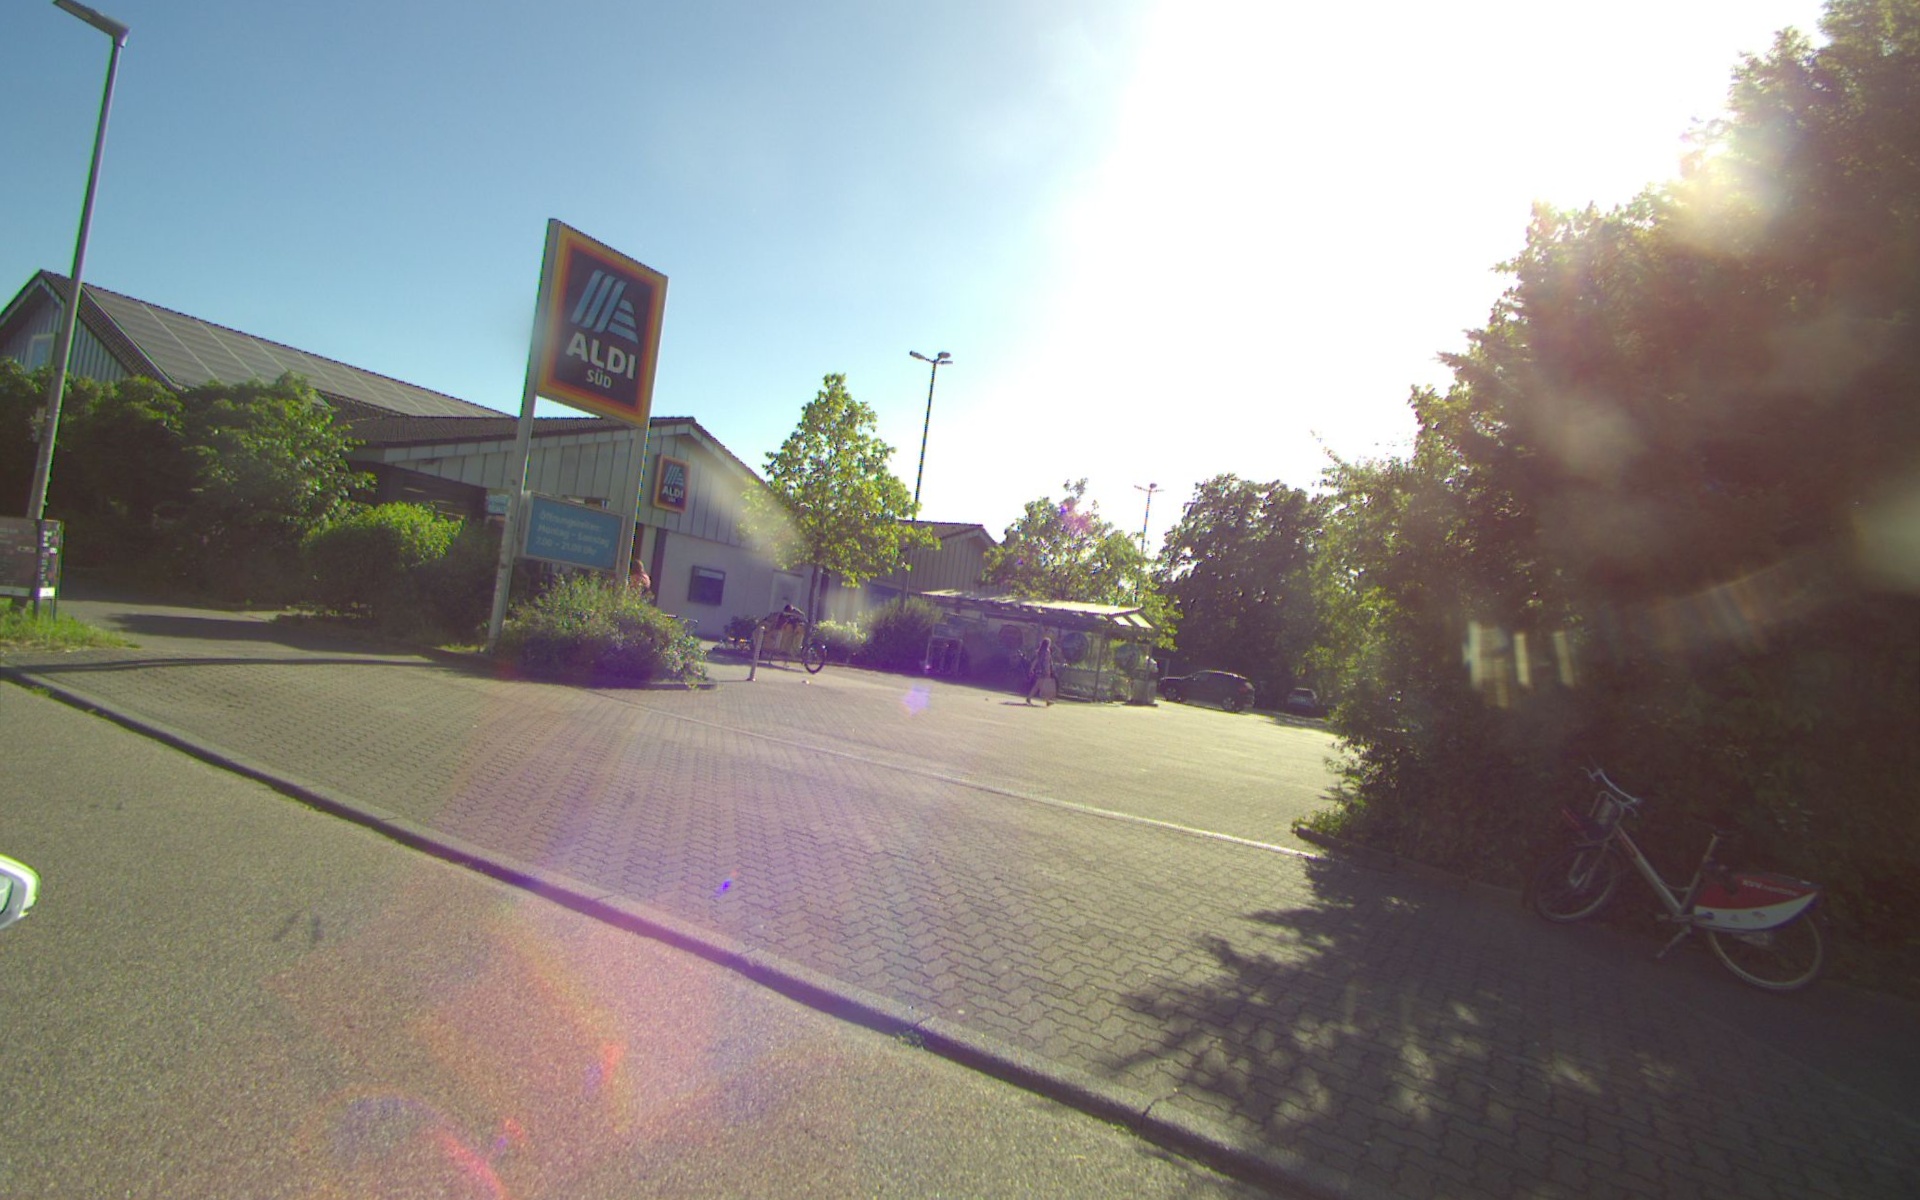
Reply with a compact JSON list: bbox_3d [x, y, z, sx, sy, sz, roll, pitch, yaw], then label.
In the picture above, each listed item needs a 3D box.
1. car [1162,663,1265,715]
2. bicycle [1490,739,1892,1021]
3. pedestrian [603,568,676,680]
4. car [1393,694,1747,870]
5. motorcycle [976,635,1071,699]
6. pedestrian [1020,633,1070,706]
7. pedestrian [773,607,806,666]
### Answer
[{"bbox_3d":[11.524,4.030,45.767,3.934,1.725,1.998,7,-2,32],"label":"car"},{"bbox_3d":[4.527,1.635,6.350,0.718,1.235,1.873,6,-1,-43],"label":"bicycle"},{"bbox_3d":[-5.123,0.378,16.071,0.688,1.650,0.769,9,-1,-38],"label":"pedestrian"},{"bbox_3d":[8.107,2.342,13.673,3.739,1.520,1.776,7,-2,31],"label":"car"},{"bbox_3d":[1.897,2.009,30.269,2.554,1.526,0.871,7,-2,32],"label":"motorcycle"},{"bbox_3d":[2.082,1.708,24.702,0.814,1.675,0.673,7,-1,30],"label":"pedestrian"},{"bbox_3d":[-5.017,1.056,29.578,0.682,1.637,0.775,8,-1,-12],"label":"pedestrian"}]
